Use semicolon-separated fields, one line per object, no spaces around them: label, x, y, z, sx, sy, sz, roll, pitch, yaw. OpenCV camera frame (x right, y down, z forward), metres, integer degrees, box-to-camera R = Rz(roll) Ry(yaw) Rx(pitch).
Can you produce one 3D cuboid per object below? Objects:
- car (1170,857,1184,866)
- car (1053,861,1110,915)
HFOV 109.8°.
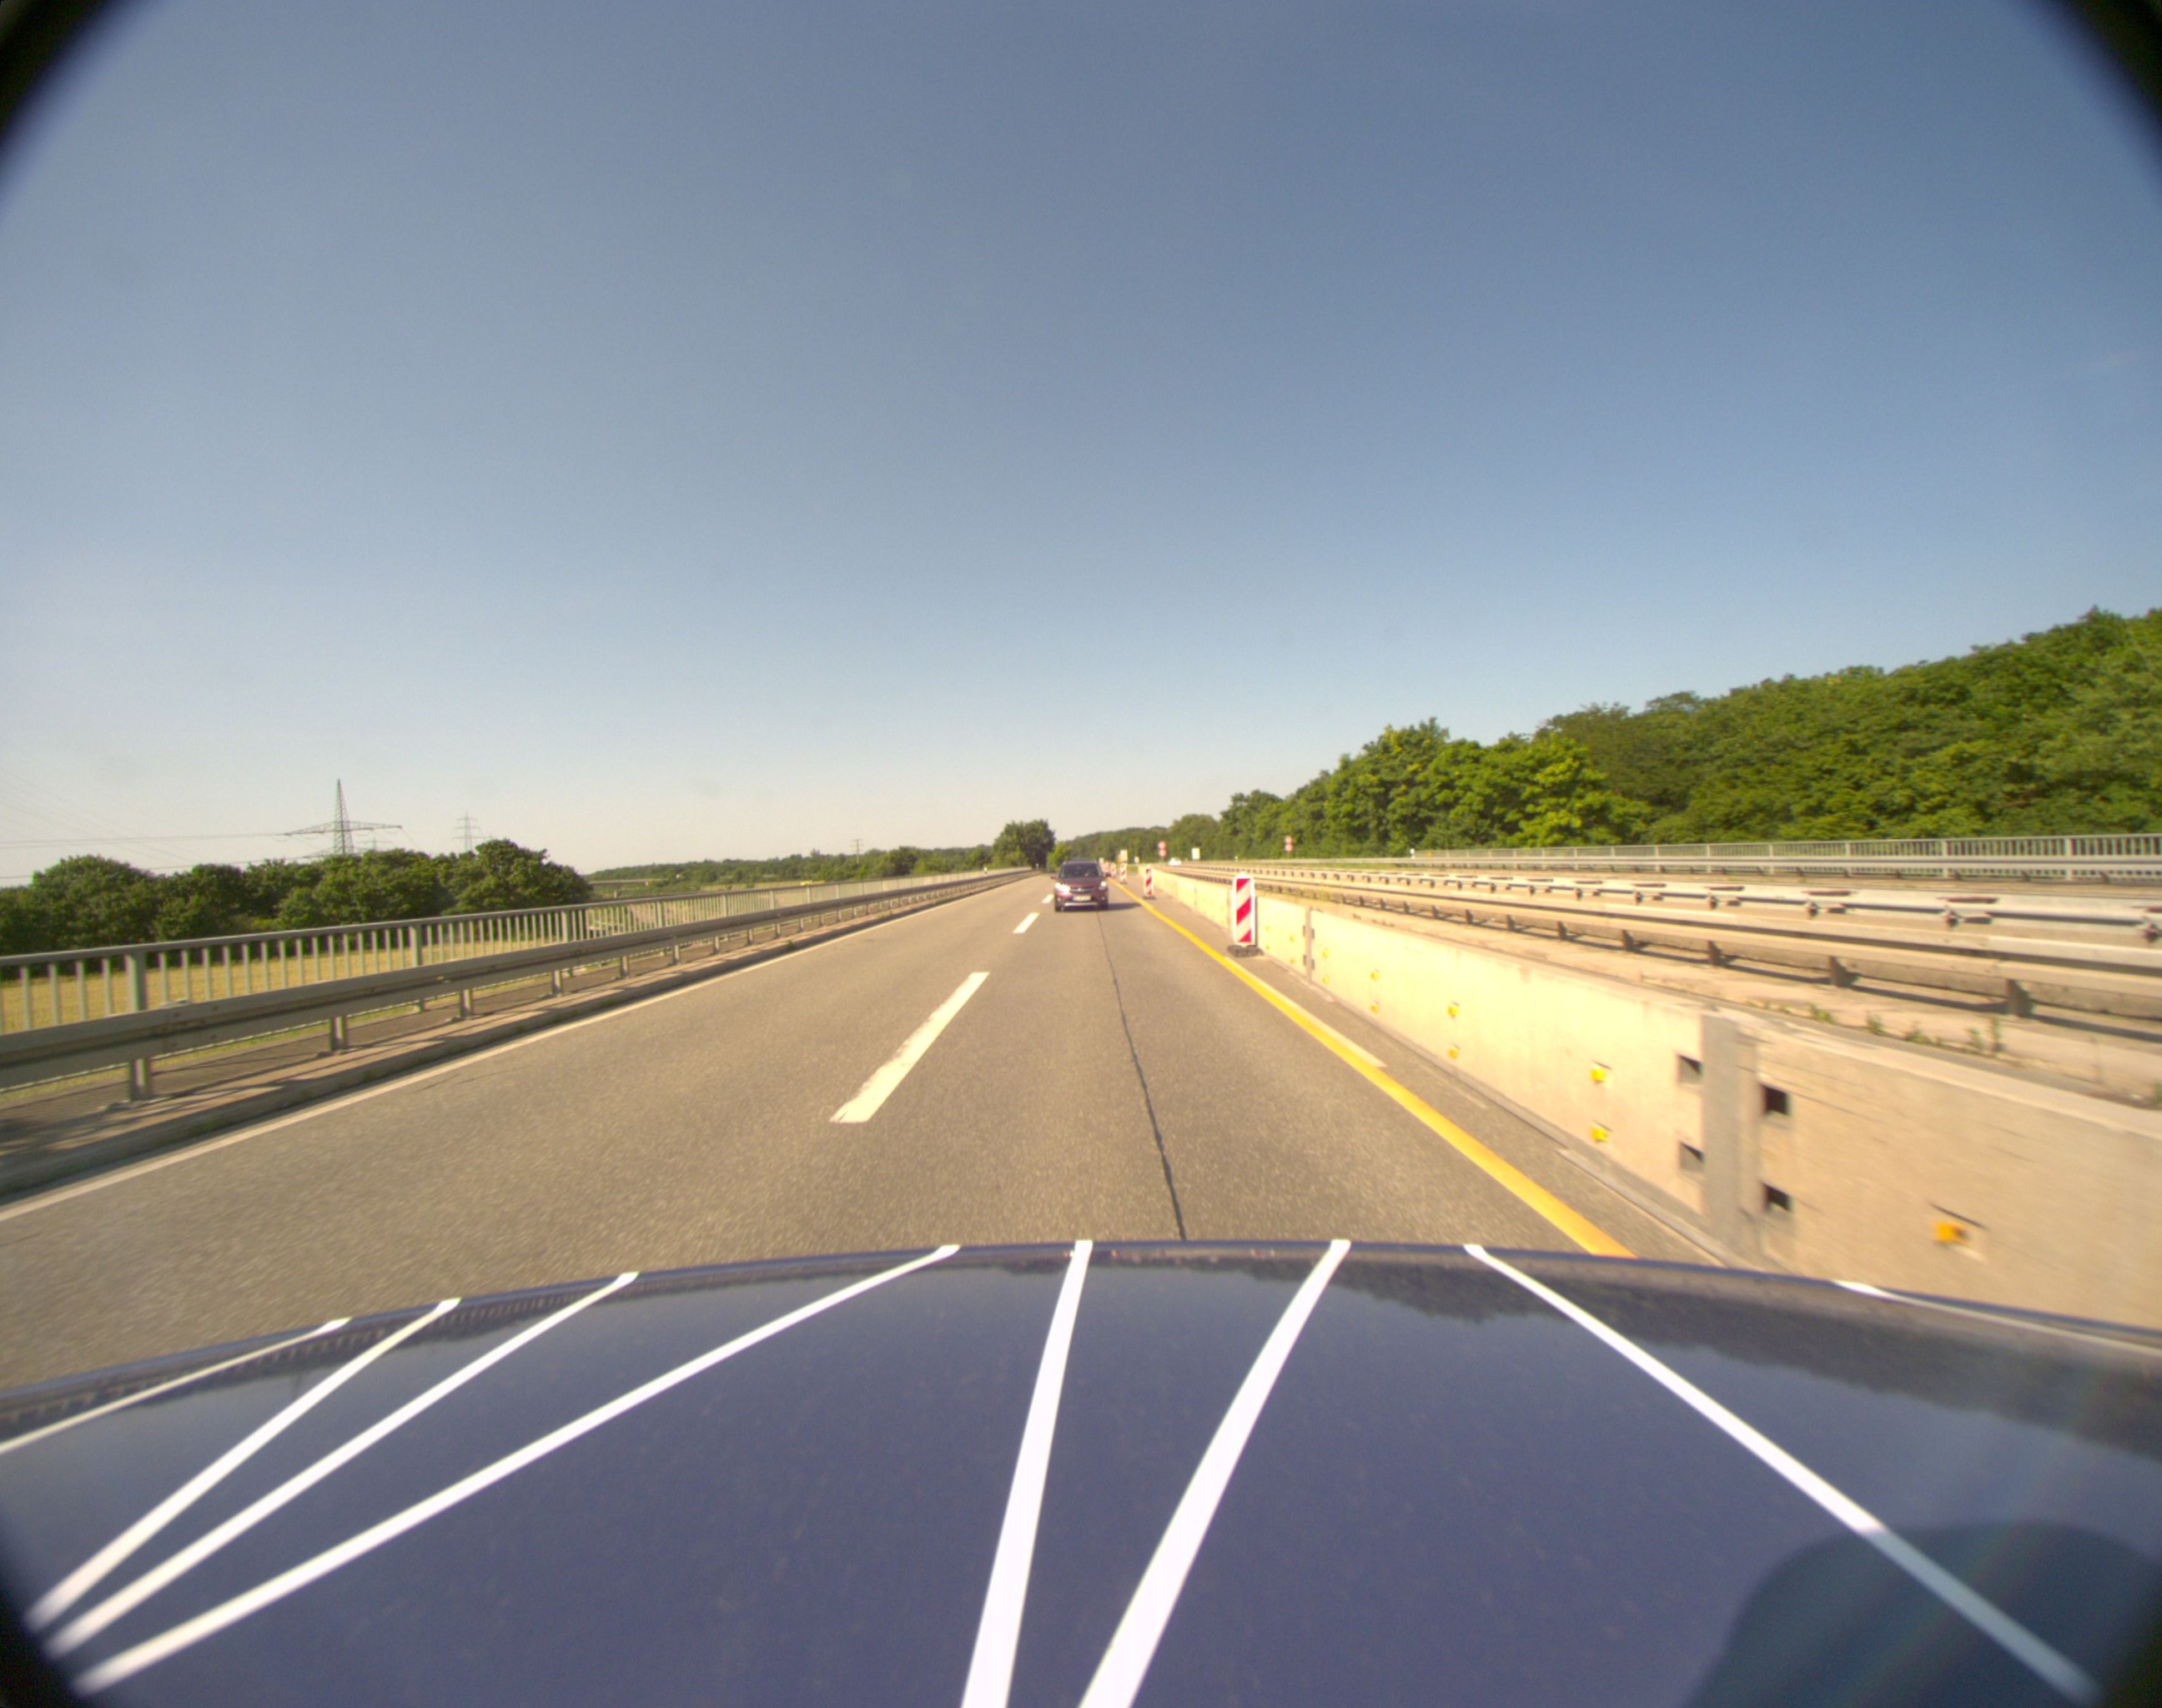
car;15.775;1.297;125.103;1.744;1.331;4.552;-4;0;0
car;0.089;1.011;24.084;1.587;1.491;4.416;-2;0;2
